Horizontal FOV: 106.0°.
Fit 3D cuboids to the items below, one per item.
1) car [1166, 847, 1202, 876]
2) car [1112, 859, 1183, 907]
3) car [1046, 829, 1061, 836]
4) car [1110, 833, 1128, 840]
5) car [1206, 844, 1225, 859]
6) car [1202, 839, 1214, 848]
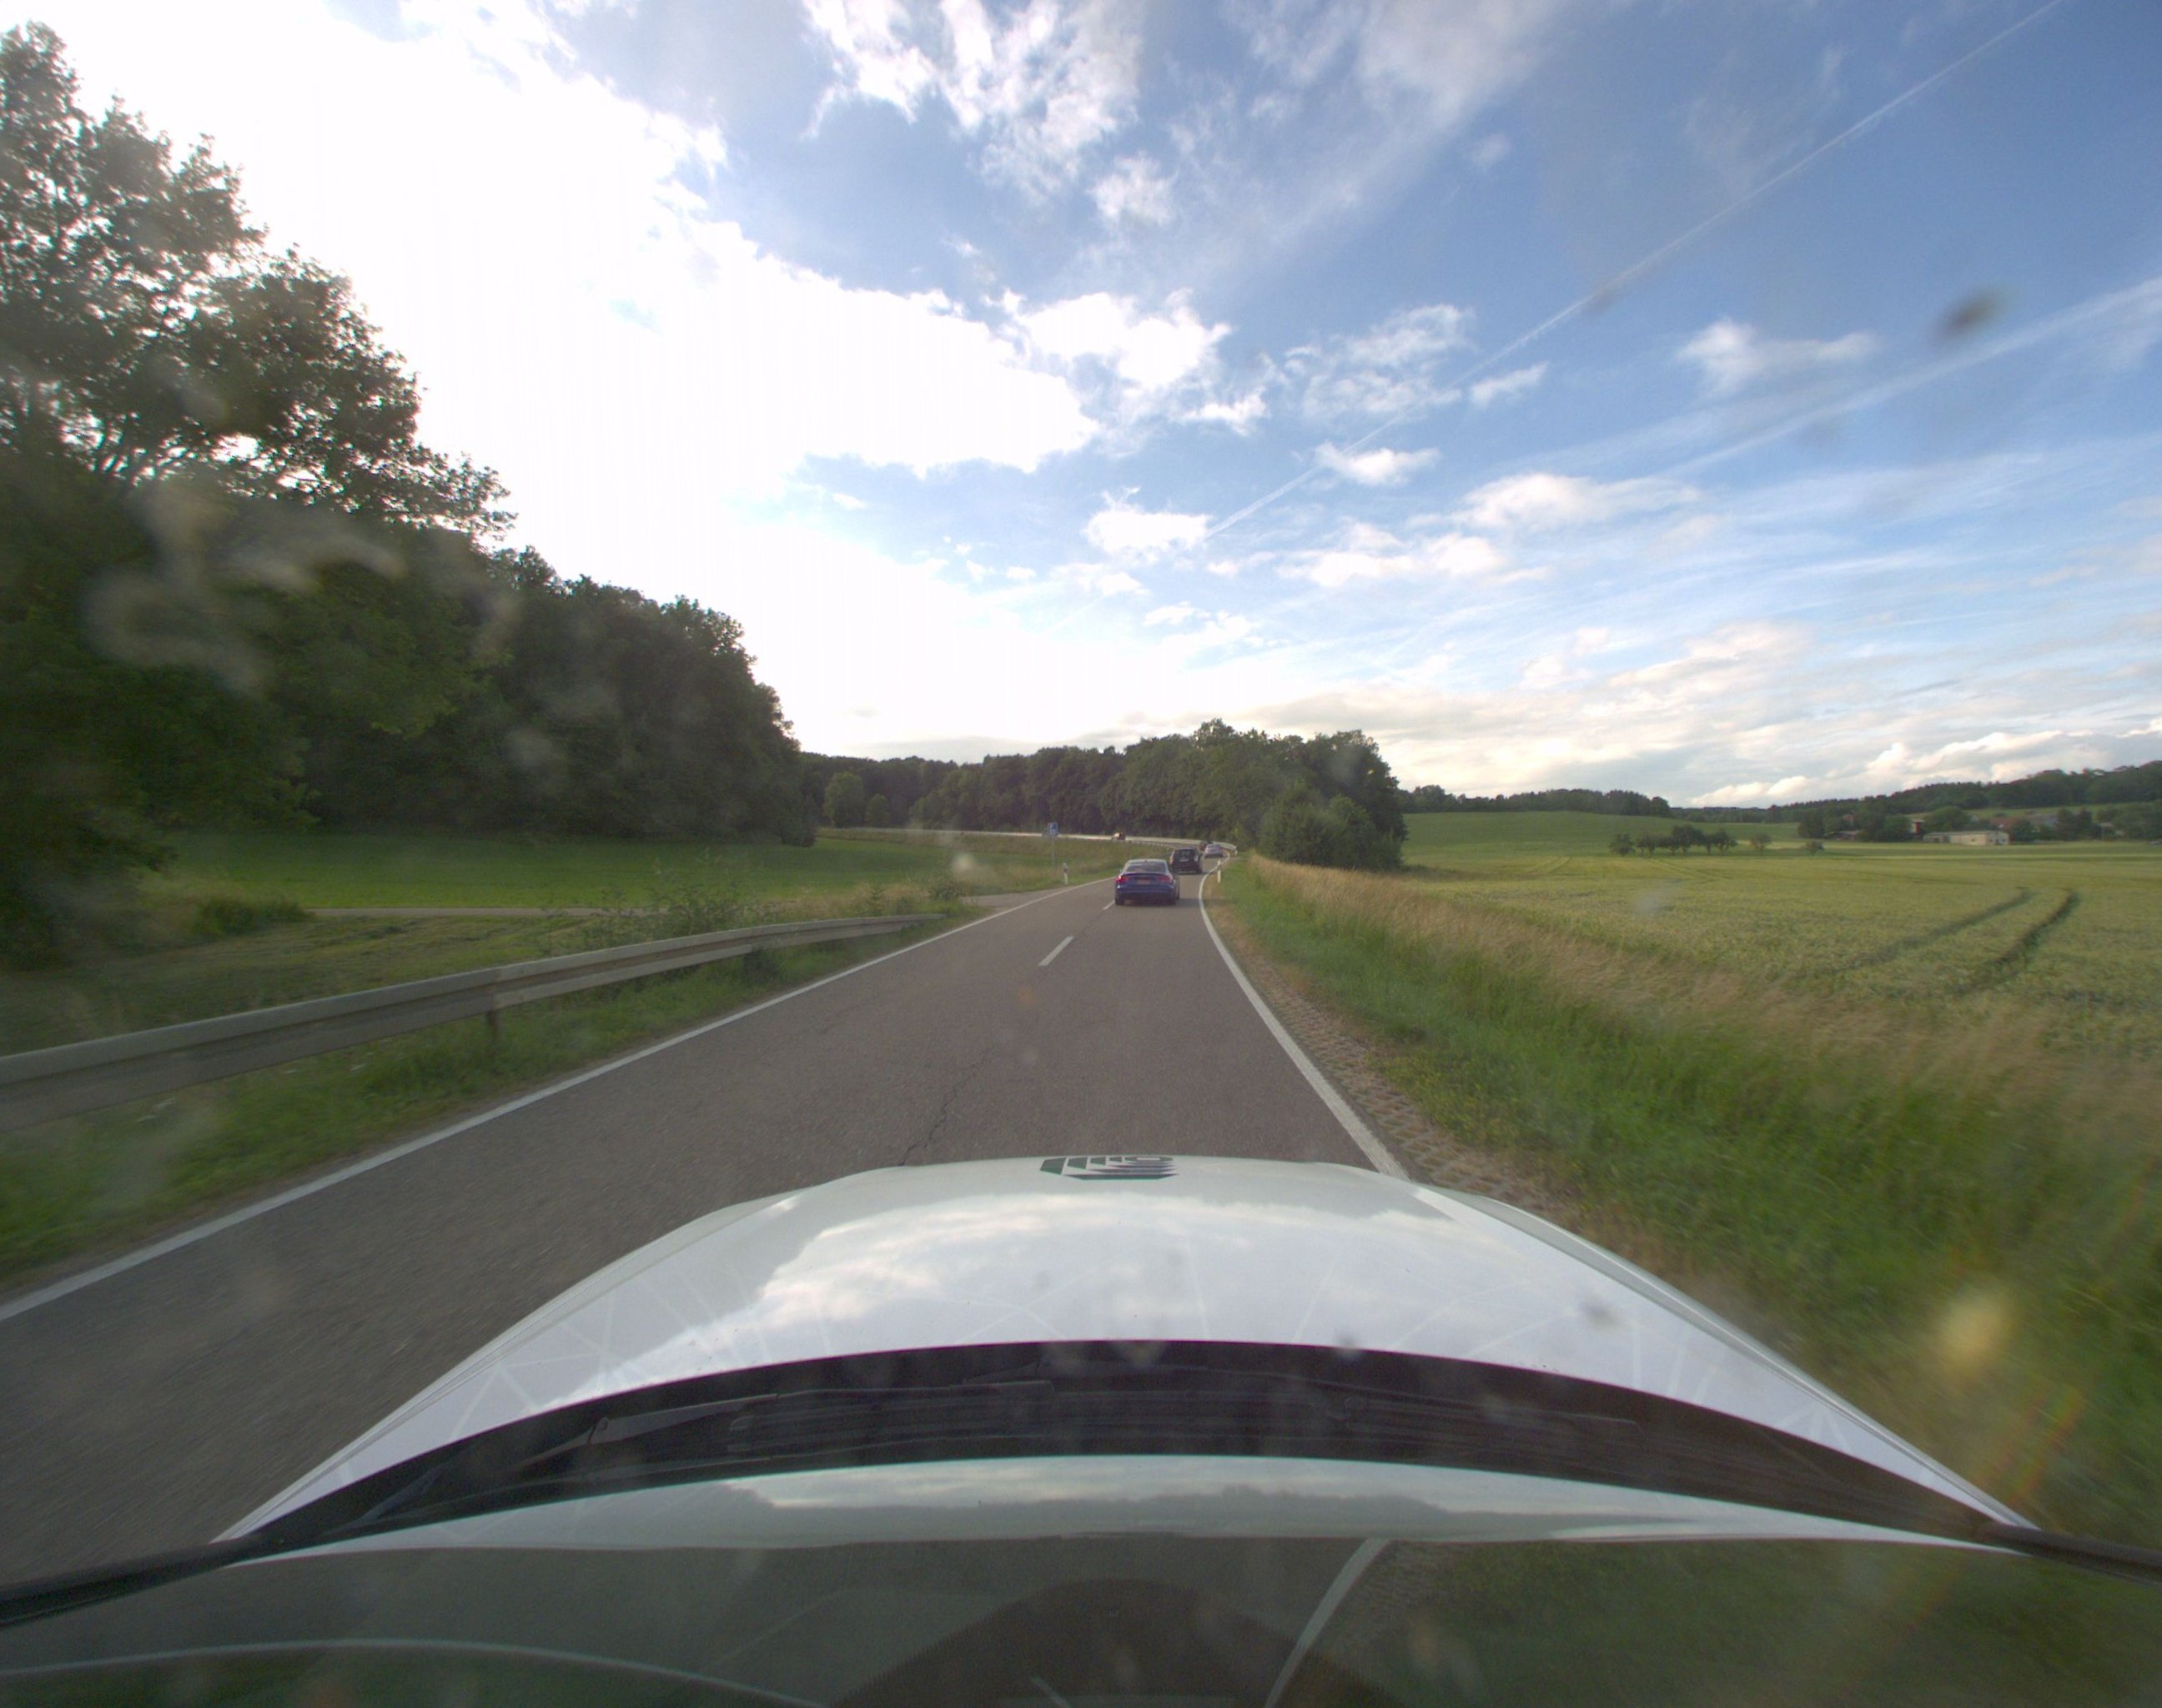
[{"bbox_3d":[6.308,0.418,49.701,1.849,1.568,4.013,-1,1,12],"label":"car"},{"bbox_3d":[2.171,0.856,25.573,1.807,1.339,4.362,0,0,10],"label":"car"},{"bbox_3d":[-7.024,-5.416,207.444,2.007,1.771,3.959,-1,1,-32],"label":"car"},{"bbox_3d":[8.374,-3.858,179.379,2.005,1.679,4.141,-1,1,-28],"label":"car"},{"bbox_3d":[14.089,-0.298,85.052,1.671,1.376,4.014,-3,0,13],"label":"car"},{"bbox_3d":[17.603,-1.447,113.083,1.464,1.227,3.305,-3,0,6],"label":"car"}]
